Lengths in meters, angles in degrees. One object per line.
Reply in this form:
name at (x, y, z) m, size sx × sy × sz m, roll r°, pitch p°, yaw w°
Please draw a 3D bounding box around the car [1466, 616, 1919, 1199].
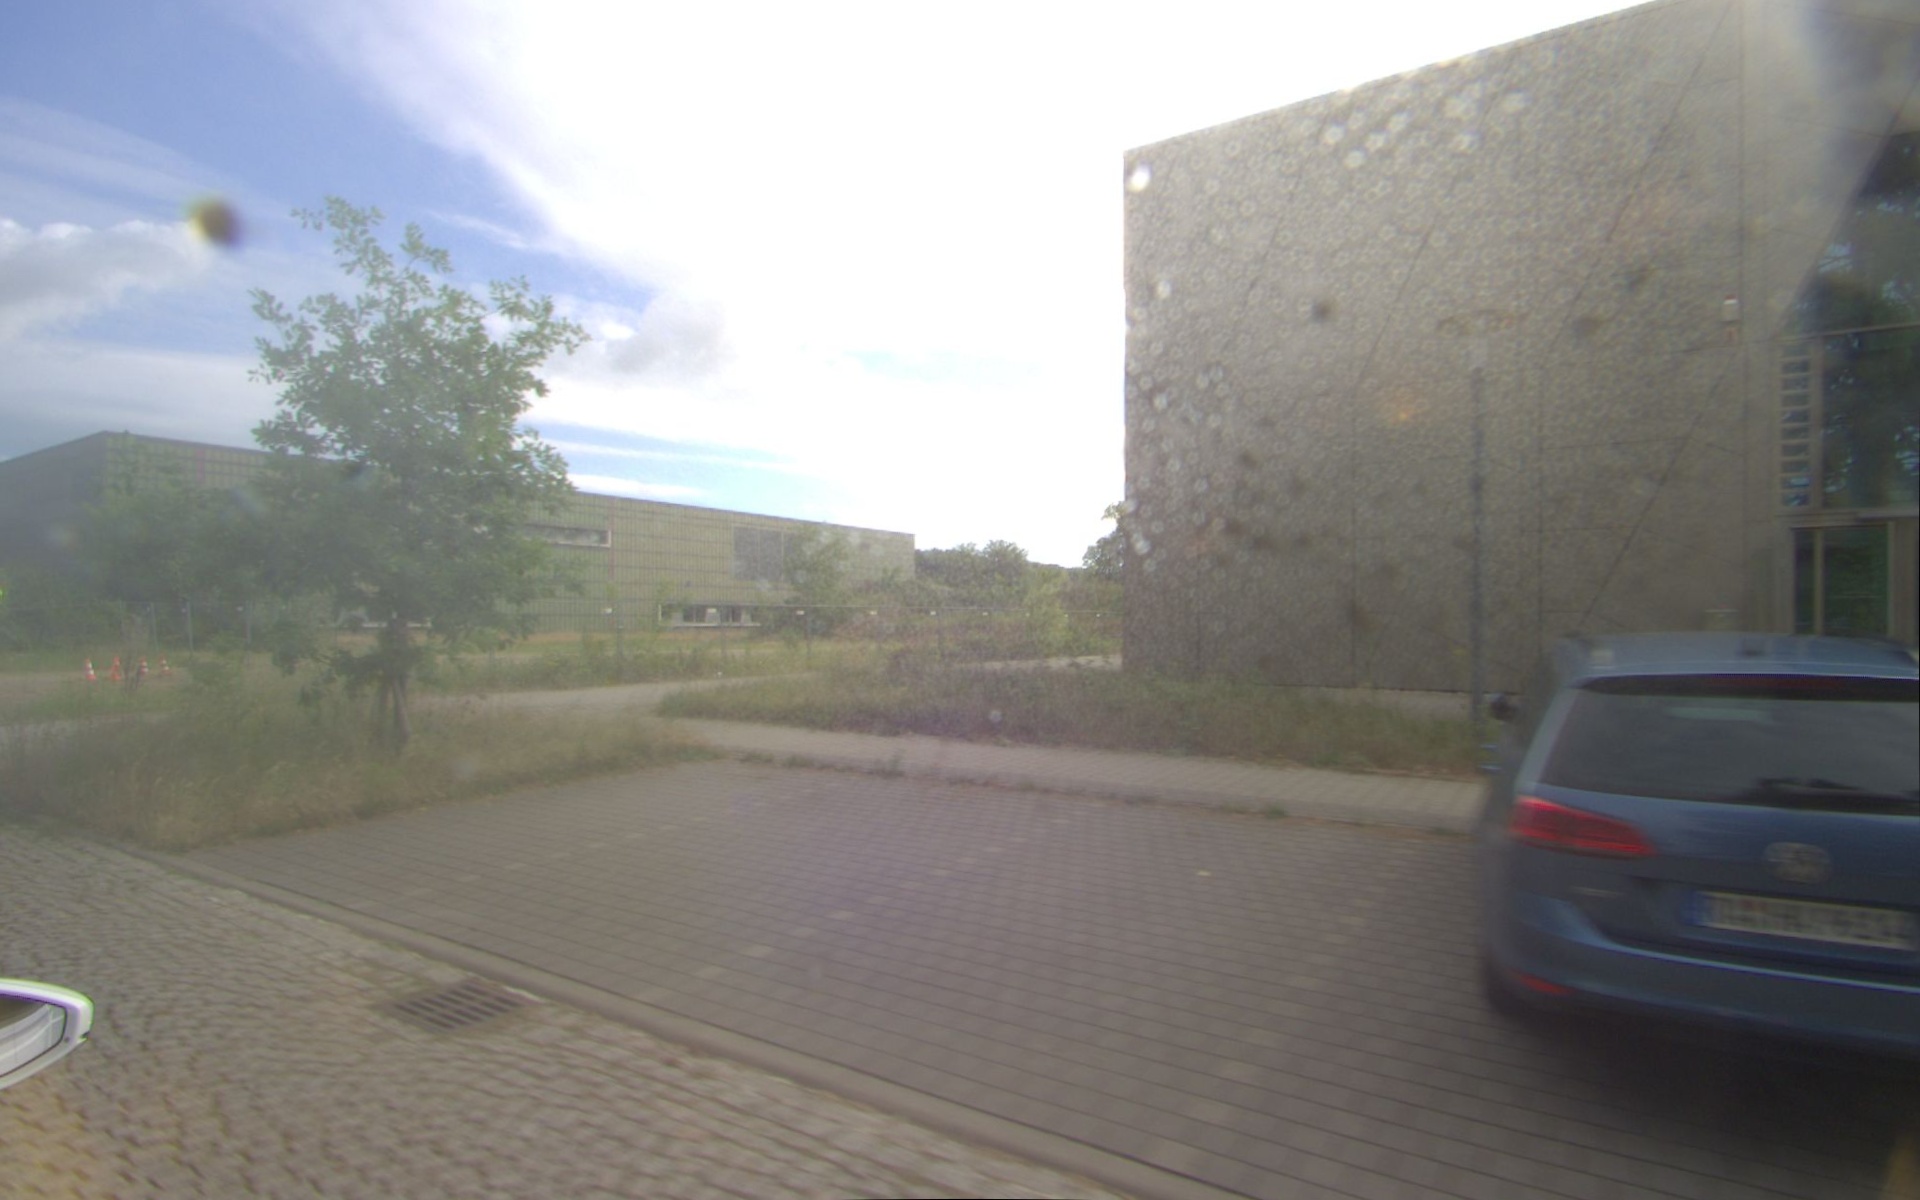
car at (3.498, 0.864, 4.686) m, size 1.796 × 1.463 × 4.515 m, roll 0°, pitch 1°, yaw 30°
